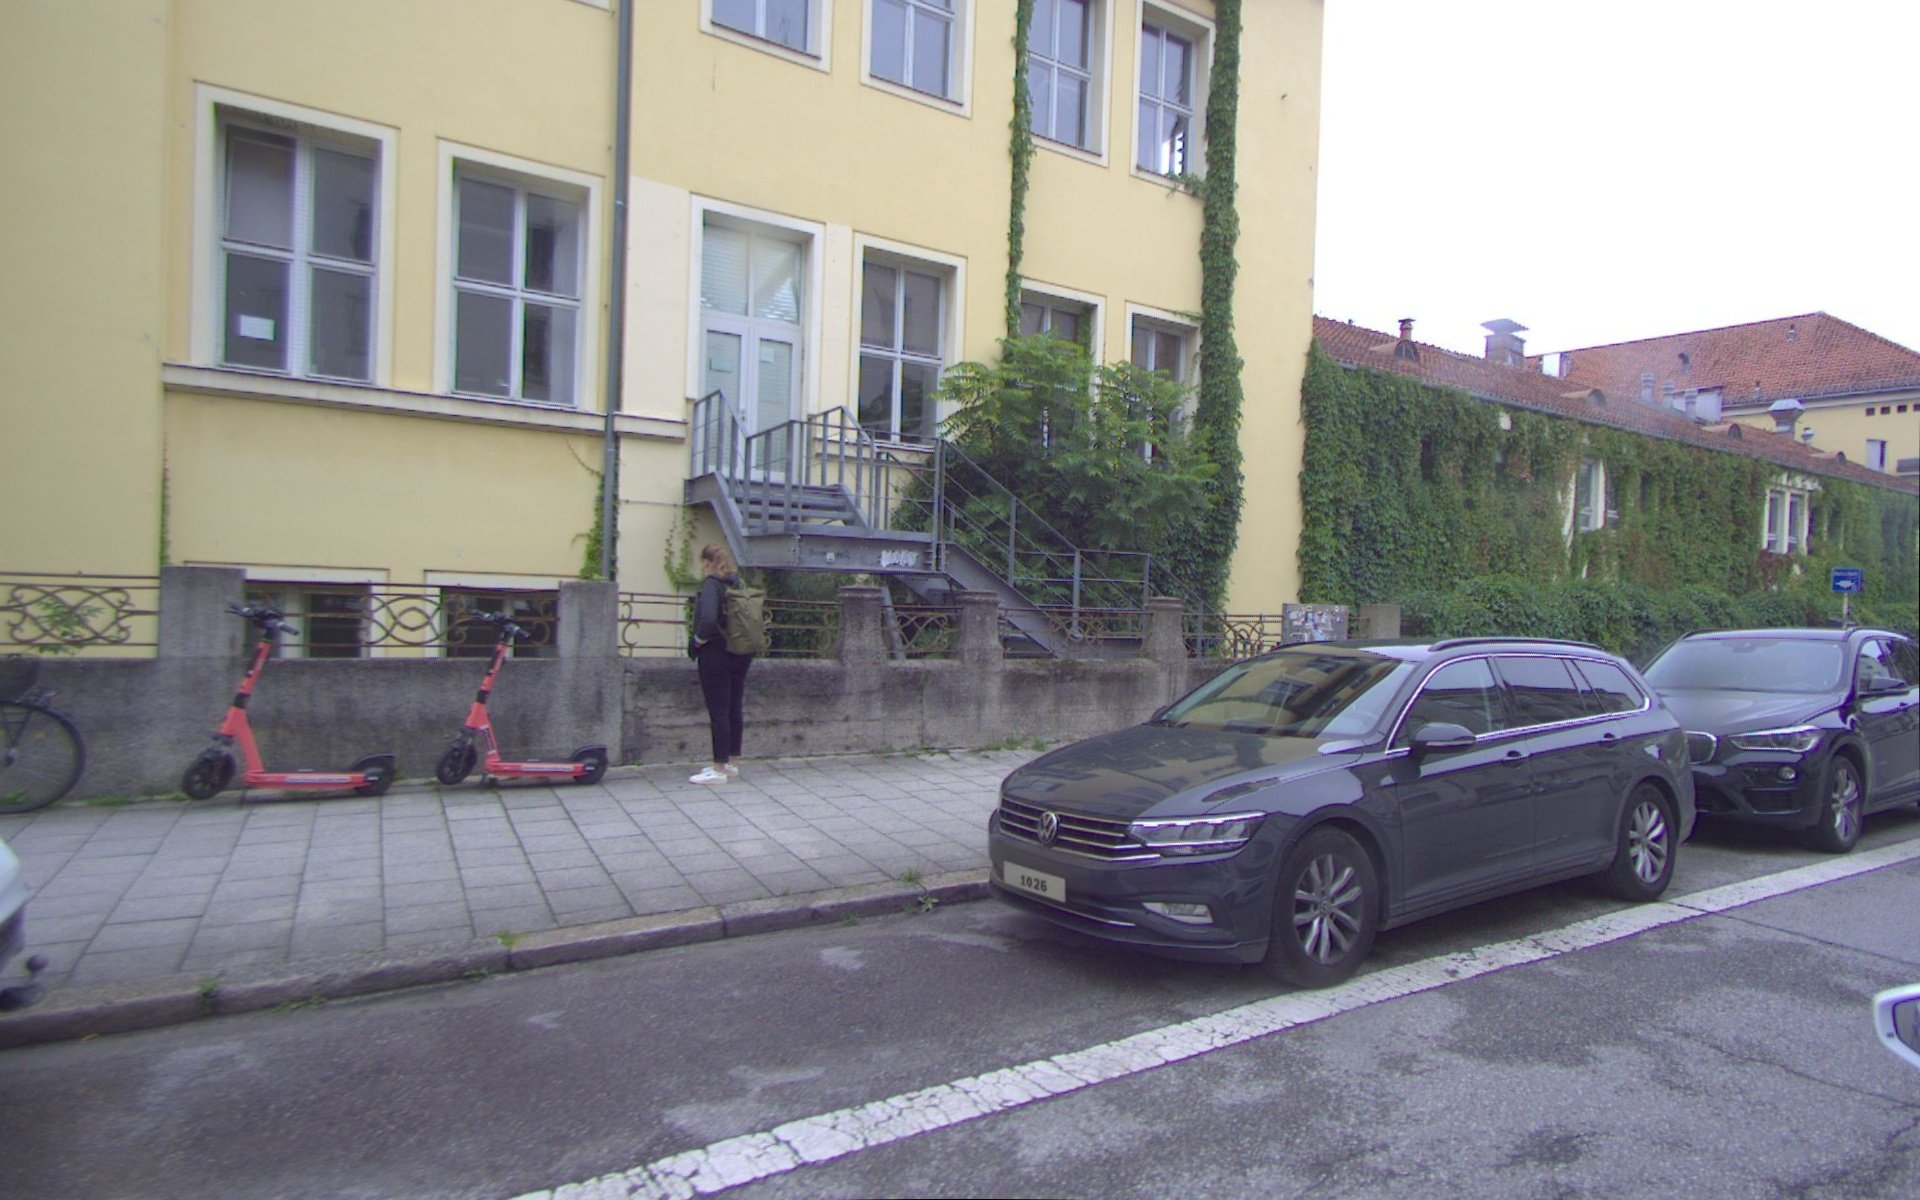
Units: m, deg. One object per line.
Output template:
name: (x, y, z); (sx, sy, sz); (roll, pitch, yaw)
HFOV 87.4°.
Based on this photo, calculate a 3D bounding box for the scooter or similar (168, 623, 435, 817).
scooter or similar: (-4.298, 0.740, 6.660); (1.428, 1.151, 0.529); (1, 1, -30)

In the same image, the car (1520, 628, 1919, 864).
car: (6.732, 1.032, 8.388); (4.225, 1.522, 1.760); (2, -3, -32)

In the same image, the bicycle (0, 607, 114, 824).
bicycle: (-5.974, 0.640, 5.658); (1.745, 1.204, 0.580); (2, 1, -30)

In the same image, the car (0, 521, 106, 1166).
car: (-4.451, 0.605, 1.753); (4.254, 1.662, 1.771); (2, -4, -33)

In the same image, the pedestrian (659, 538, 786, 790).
pedestrian: (-1.876, 0.476, 7.898); (0.772, 1.848, 0.772); (2, 0, -27)

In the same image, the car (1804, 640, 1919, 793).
car: (11.160, 1.207, 11.047); (4.175, 1.500, 1.708); (2, -4, -33)

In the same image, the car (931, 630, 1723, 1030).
car: (2.230, 0.926, 5.605); (4.551, 1.427, 1.764); (2, -4, -33)

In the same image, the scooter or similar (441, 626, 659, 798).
scooter or similar: (-3.008, 0.777, 7.406); (1.428, 1.151, 0.529); (1, 0, -30)
